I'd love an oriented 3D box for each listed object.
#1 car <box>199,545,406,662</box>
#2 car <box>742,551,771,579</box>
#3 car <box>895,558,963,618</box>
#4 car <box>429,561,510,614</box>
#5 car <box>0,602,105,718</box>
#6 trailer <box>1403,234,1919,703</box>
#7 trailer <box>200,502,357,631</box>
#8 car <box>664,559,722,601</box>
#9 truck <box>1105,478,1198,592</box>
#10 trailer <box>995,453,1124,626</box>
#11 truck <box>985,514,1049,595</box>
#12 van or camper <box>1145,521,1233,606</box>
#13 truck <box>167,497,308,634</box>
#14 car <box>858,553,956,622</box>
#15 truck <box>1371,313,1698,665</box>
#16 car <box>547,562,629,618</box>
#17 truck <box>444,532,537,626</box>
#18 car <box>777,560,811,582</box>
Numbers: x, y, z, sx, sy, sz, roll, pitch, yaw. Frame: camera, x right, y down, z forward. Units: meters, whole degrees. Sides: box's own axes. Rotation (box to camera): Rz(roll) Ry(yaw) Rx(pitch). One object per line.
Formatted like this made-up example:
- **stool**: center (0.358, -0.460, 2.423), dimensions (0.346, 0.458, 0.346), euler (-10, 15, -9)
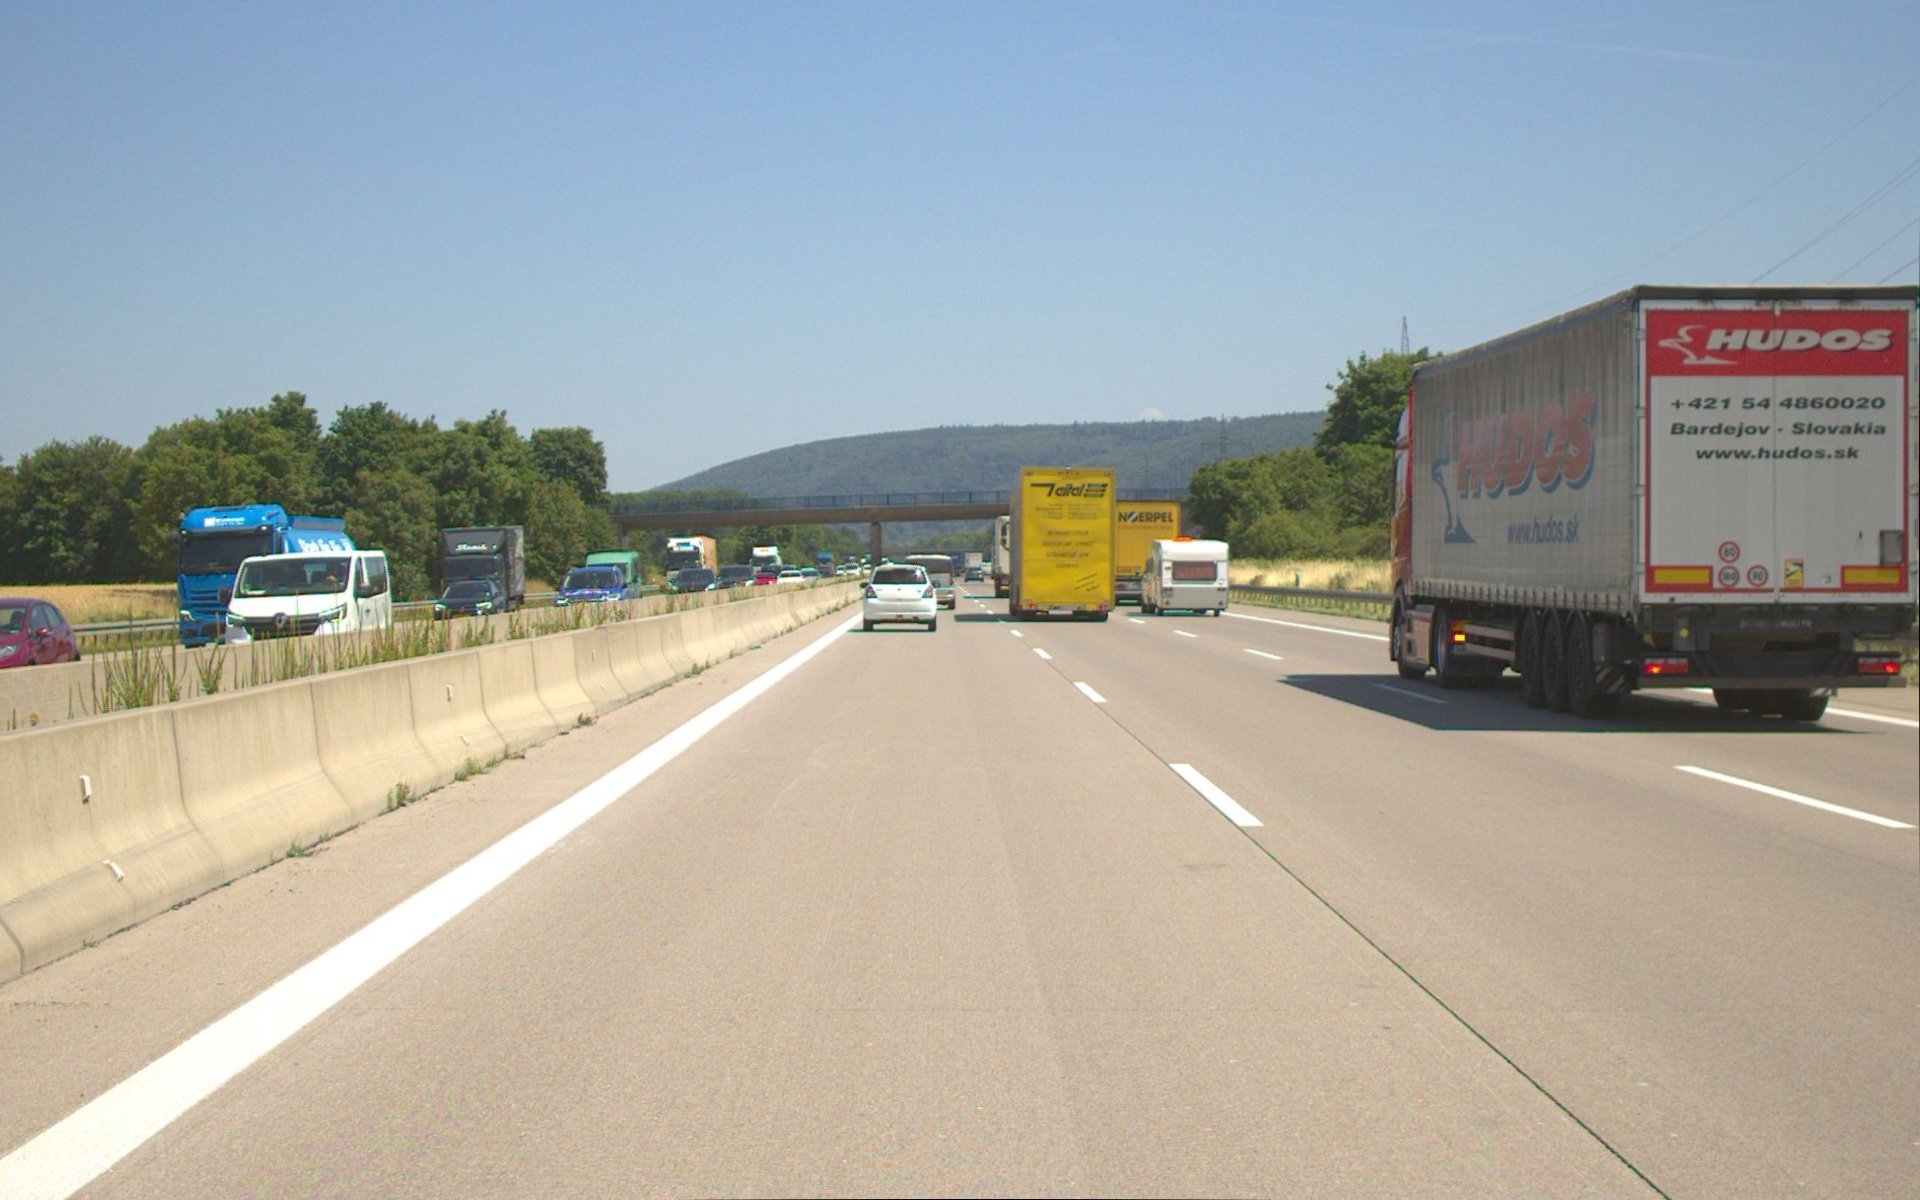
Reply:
- **car**: center (-10.072, 0.010, 53.104), dimensions (2.138, 1.673, 5.645), euler (-1, 1, -1)
- **car**: center (-15.042, -2.569, 254.168), dimensions (1.993, 2.007, 4.000), euler (-1, 1, -3)
- **car**: center (-1.063, -0.434, 119.464), dimensions (2.254, 2.007, 4.297), euler (1, 1, 1)
- **car**: center (-14.151, -0.378, 99.432), dimensions (1.719, 1.443, 4.708), euler (1, 1, -1)
- **car**: center (-13.223, 0.808, 47.544), dimensions (1.688, 1.454, 4.487), euler (-1, 1, -1)
- **trailer**: center (7.224, -1.250, 36.952), dimensions (2.873, 4.086, 13.514), euler (1, 1, -1)
- **trailer**: center (-18.206, -0.920, 92.405), dimensions (2.515, 3.261, 9.254), euler (1, 1, -1)
- **car**: center (-10.552, -0.808, 136.147), dimensions (1.940, 1.552, 4.889), euler (-1, 1, -1)
- **truck**: center (7.454, -2.527, 134.987), dimensions (2.999, 4.299, 9.684), euler (1, 1, 0)
- **trailer**: center (2.706, -1.694, 97.999), dimensions (3.216, 4.548, 13.457), euler (1, 1, 0)
- **truck**: center (2.673, -2.195, 163.966), dimensions (2.820, 3.748, 6.284), euler (1, 1, -1)
- **van or camper**: center (6.981, -1.125, 105.326), dimensions (2.224, 2.522, 5.431), euler (1, 1, -1)
- **truck**: center (-18.041, -0.875, 86.122), dimensions (2.484, 3.298, 5.264), euler (1, 1, -1)
- **car**: center (-1.205, -0.310, 79.416), dimensions (2.107, 1.530, 4.122), euler (1, 1, 1)
- **truck**: center (7.128, -1.347, 43.543), dimensions (2.905, 4.086, 6.272), euler (1, 1, -1)
- **car**: center (-9.797, -0.276, 90.827), dimensions (1.779, 1.344, 4.453), euler (2, 1, -2)
- **truck**: center (-18.360, -0.860, 134.800), dimensions (2.554, 3.500, 7.885), euler (-2, 1, -1)
- **car**: center (-10.808, -1.905, 224.016), dimensions (1.993, 1.359, 4.670), euler (-2, 1, 0)
